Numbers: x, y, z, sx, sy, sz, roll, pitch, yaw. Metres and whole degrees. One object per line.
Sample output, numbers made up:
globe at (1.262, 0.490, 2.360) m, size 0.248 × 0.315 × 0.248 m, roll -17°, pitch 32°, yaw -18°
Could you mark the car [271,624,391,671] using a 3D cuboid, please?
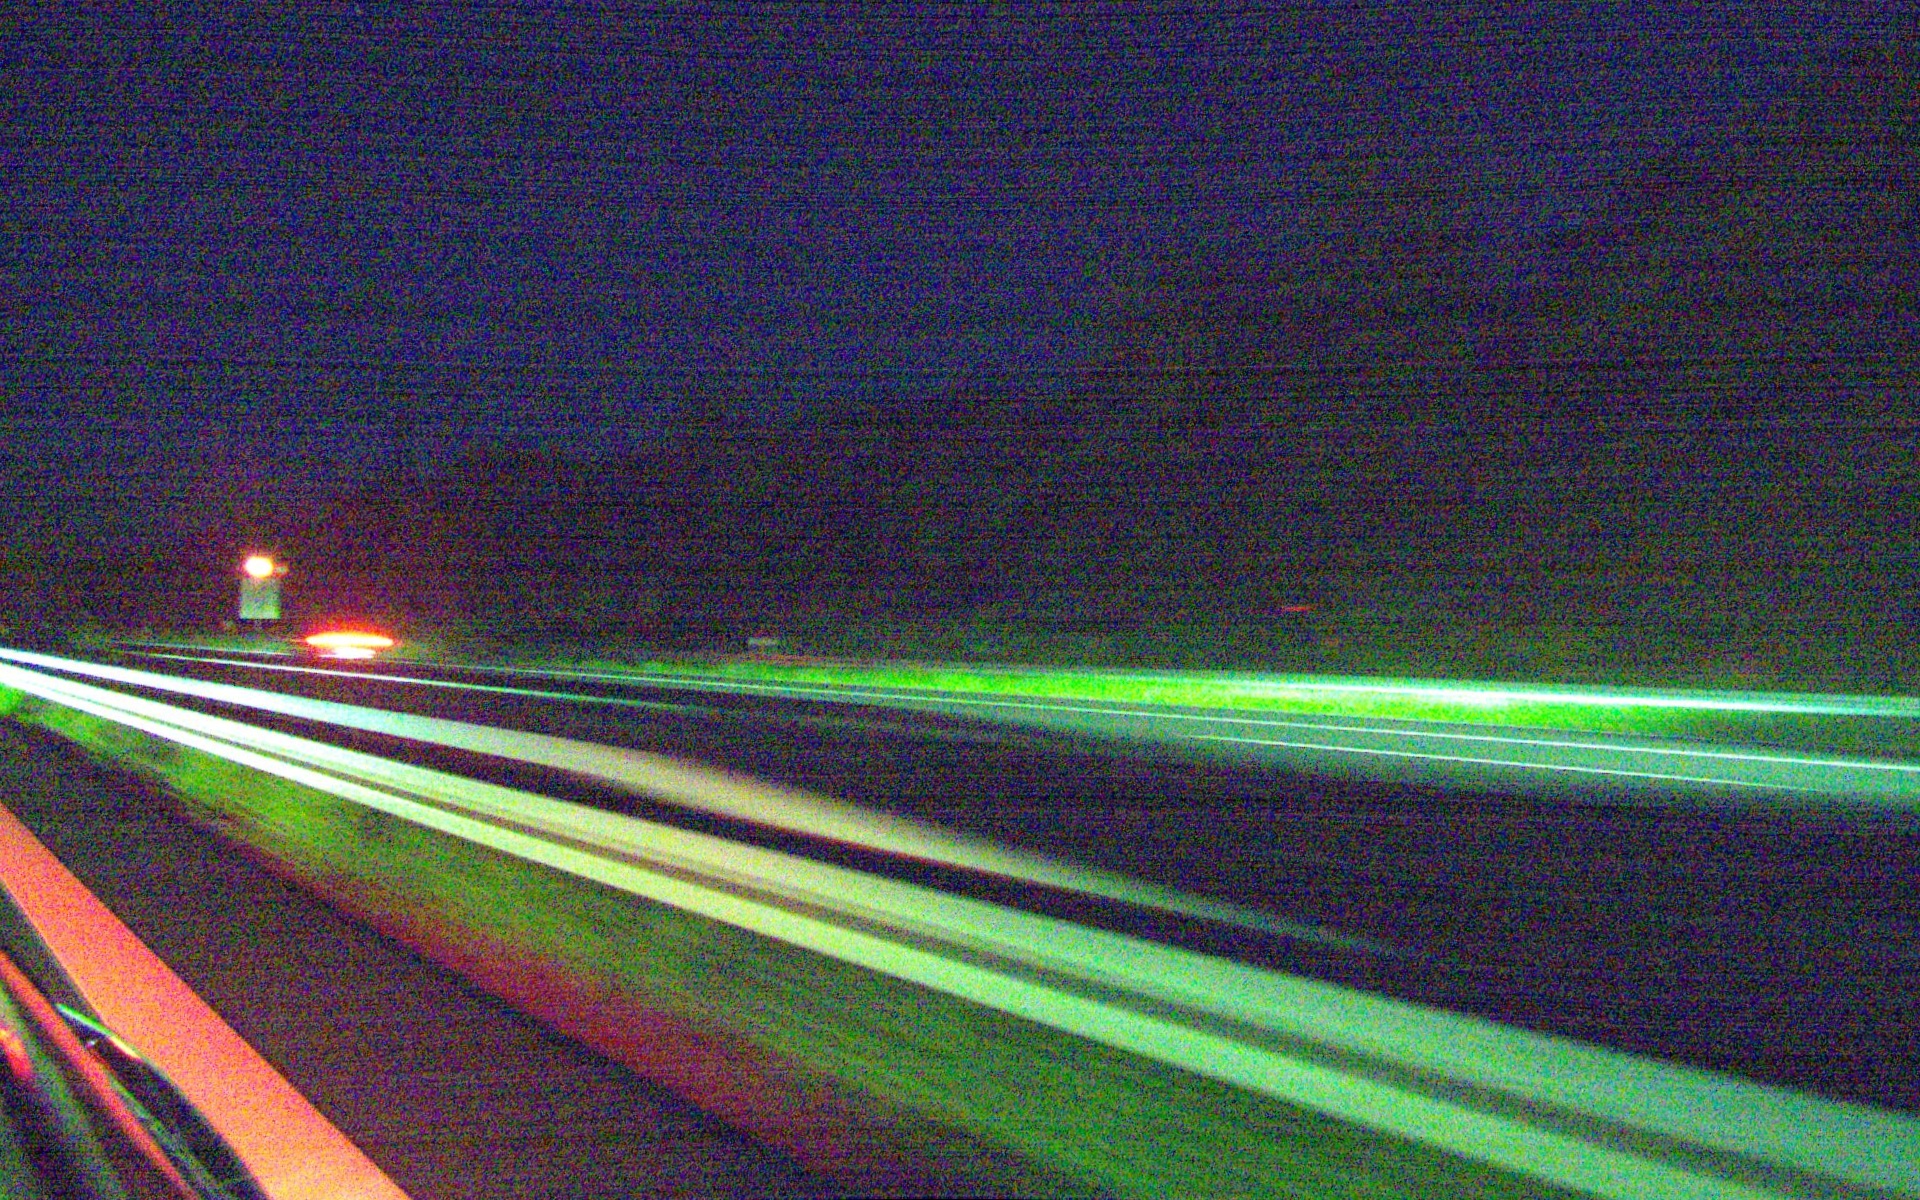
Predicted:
car at (-21.408, 1.577, 34.369) m, size 4.686 × 1.472 × 1.974 m, roll -1°, pitch -3°, yaw 39°
